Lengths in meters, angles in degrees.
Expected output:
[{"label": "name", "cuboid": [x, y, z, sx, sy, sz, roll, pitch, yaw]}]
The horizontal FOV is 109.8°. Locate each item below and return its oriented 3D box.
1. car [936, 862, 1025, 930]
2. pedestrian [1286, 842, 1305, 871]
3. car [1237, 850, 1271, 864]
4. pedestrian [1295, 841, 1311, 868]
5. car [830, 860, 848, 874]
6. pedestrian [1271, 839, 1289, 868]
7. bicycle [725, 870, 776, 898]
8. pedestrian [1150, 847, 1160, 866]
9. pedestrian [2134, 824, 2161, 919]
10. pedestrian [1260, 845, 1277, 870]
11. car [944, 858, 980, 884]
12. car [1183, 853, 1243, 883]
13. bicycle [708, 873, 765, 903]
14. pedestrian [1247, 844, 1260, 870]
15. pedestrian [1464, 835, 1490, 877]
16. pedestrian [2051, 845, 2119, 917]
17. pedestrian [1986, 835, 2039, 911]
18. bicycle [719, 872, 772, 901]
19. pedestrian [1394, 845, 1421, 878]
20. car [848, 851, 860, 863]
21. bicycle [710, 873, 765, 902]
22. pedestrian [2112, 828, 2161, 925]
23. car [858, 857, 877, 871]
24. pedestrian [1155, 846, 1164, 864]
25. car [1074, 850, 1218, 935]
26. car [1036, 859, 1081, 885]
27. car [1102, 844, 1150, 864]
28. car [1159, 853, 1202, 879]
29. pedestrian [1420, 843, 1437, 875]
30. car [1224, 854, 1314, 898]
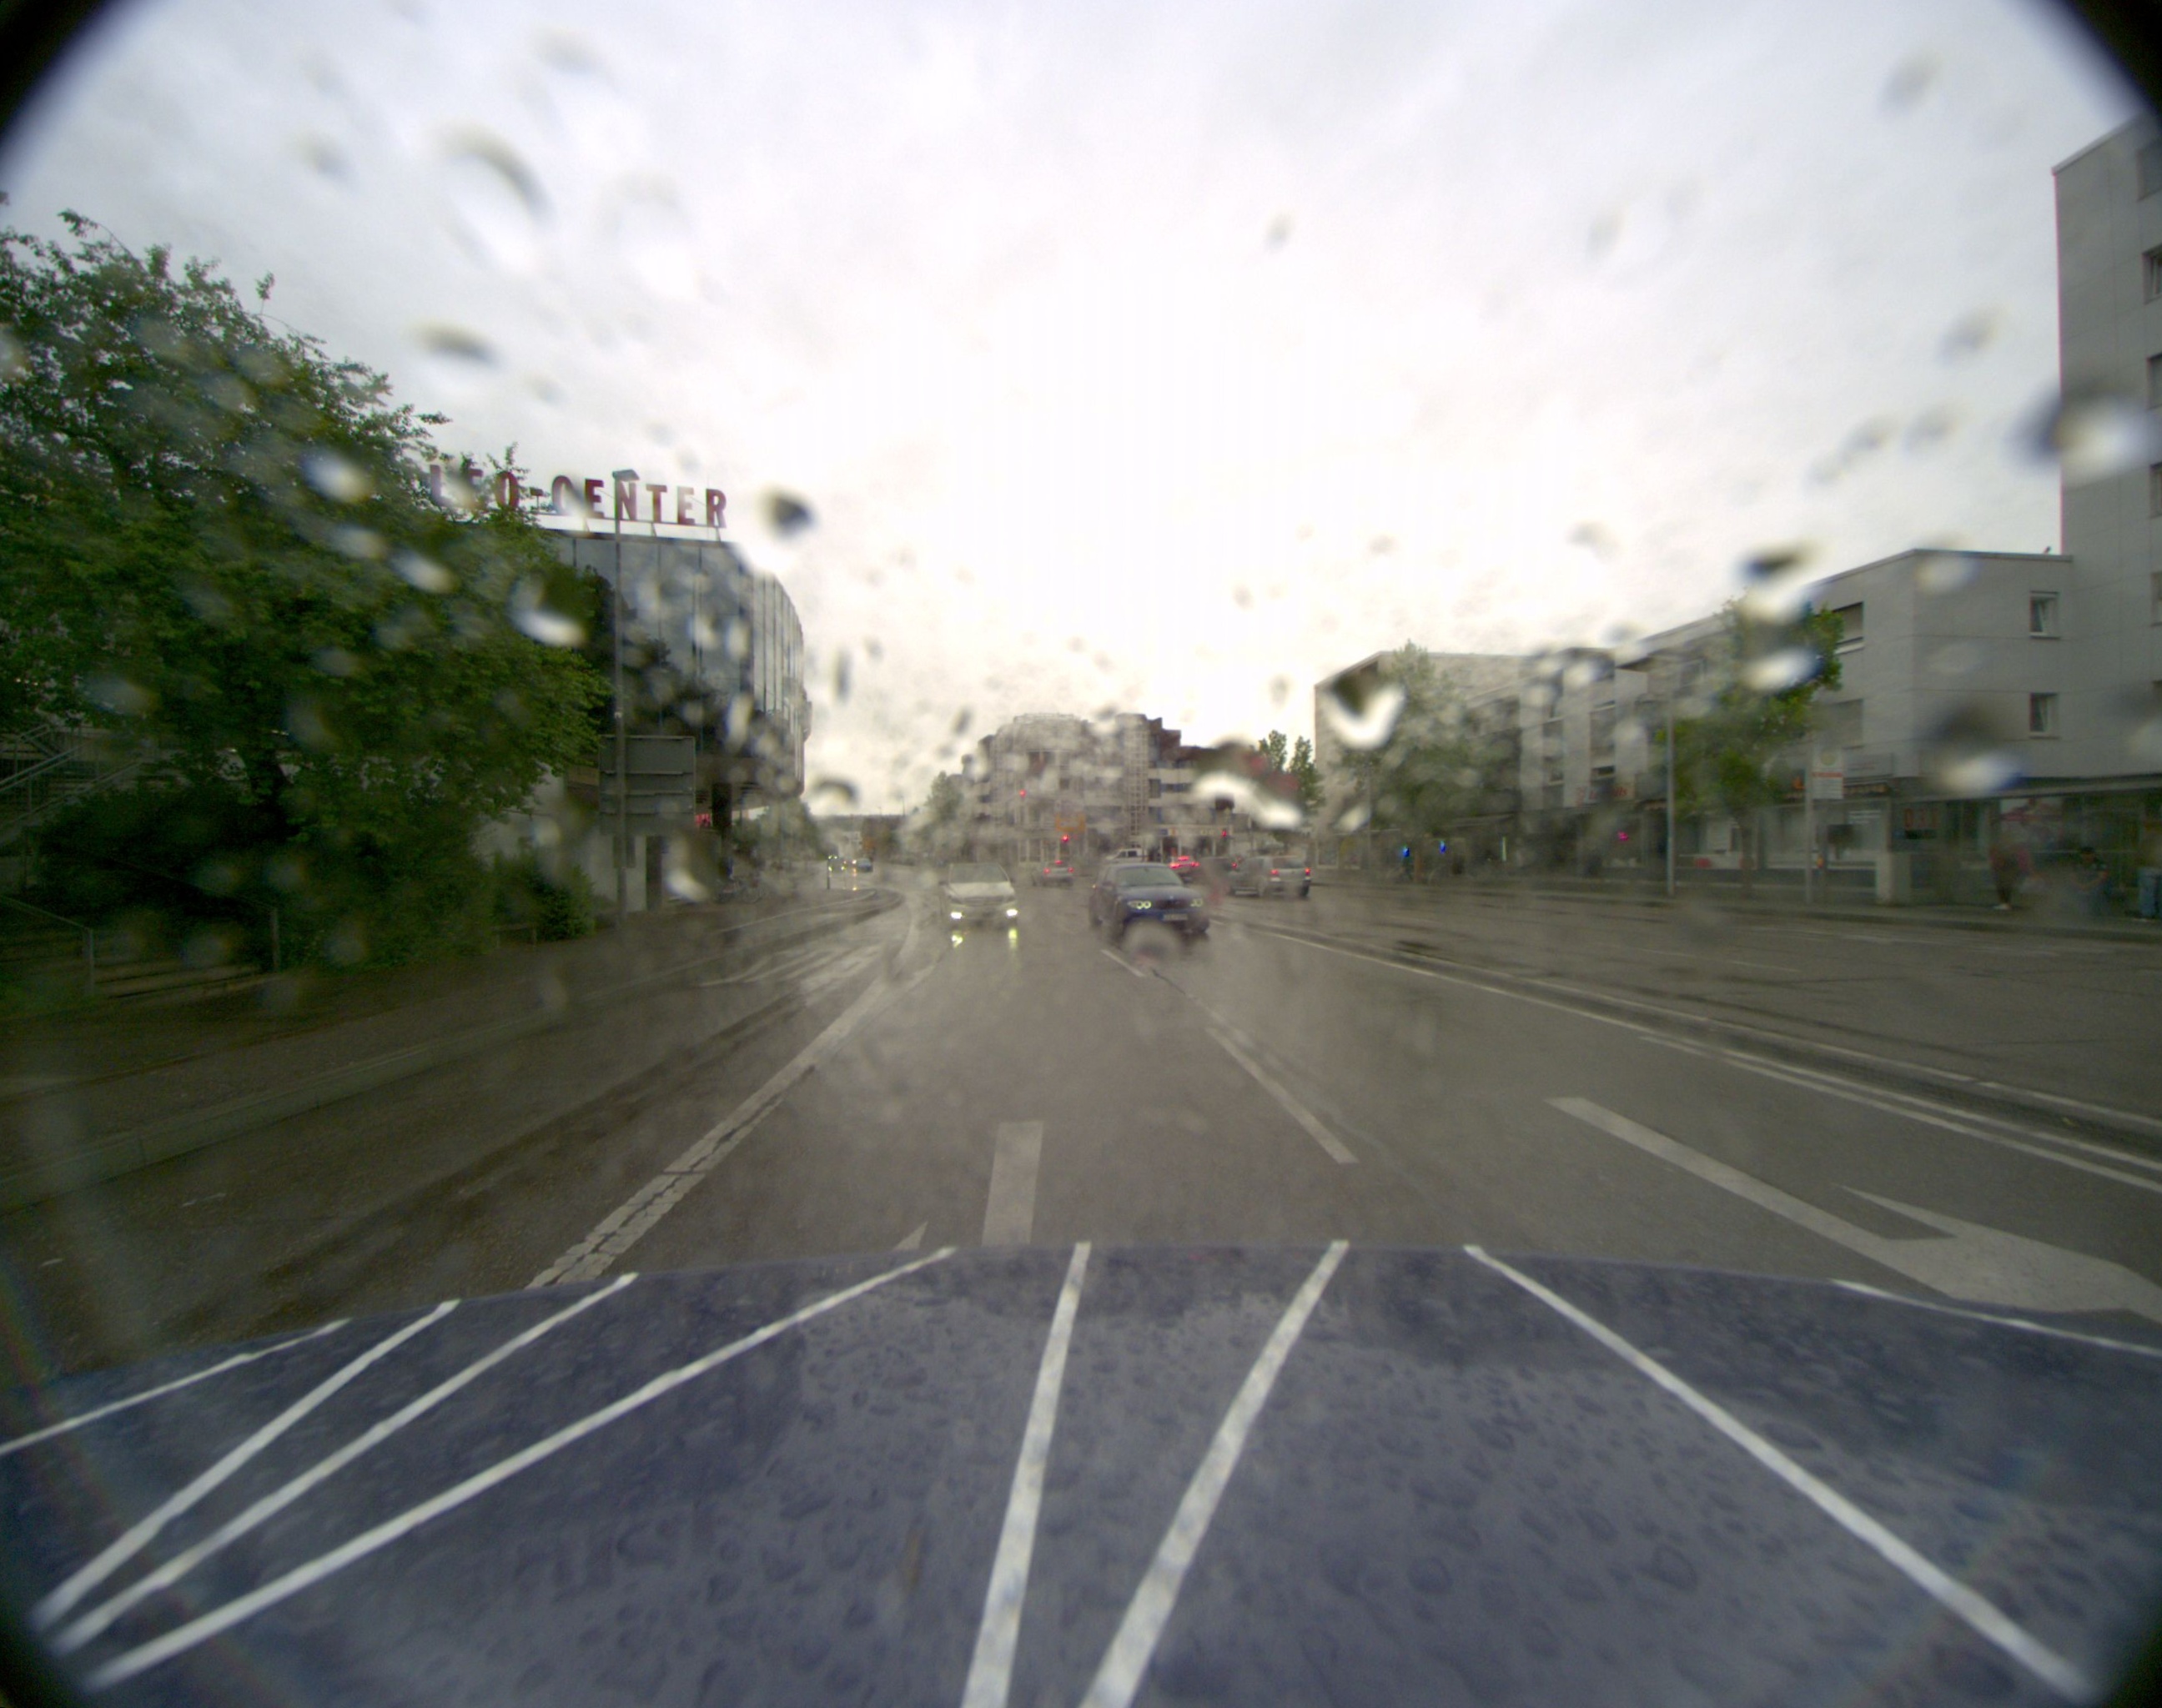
[{"label": "car", "cuboid": [-2.768, 1.010, 20.093, 1.764, 1.540, 4.321, -1, 0, -15]}, {"label": "pedestrian", "cuboid": [15.008, 0.150, 53.234, 0.906, 2.002, 0.977, -1, 0, -9]}, {"label": "car", "cuboid": [21.673, 0.346, 95.172, 3.901, 1.710, 1.743, -1, 0, -26]}, {"label": "pedestrian", "cuboid": [16.392, 0.033, 56.129, 0.761, 2.002, 0.863, -1, 0, -9]}, {"label": "car", "cuboid": [-28.197, 1.492, 88.528, 1.903, 1.517, 3.994, -1, 0, -18]}, {"label": "pedestrian", "cuboid": [13.778, -0.034, 52.656, 0.906, 2.002, 0.977, -1, 0, -9]}, {"label": "bicycle", "cuboid": [-13.790, 1.251, 31.752, 1.836, 1.104, 0.693, 1, 1, -10]}, {"label": "pedestrian", "cuboid": [7.102, 0.232, 72.808, 0.838, 1.733, 0.585, -2, 1, -2]}, {"label": "pedestrian", "cuboid": [19.174, 0.300, 13.399, 0.536, 1.649, 0.479, -1, 1, -2]}, {"label": "pedestrian", "cuboid": [14.338, 0.284, 58.217, 0.906, 1.904, 0.977, -1, 0, -9]}, {"label": "car", "cuboid": [-7.217, 1.014, 46.338, 1.632, 1.481, 3.839, -1, 0, -1]}, {"label": "car", "cuboid": [6.792, 0.727, 39.372, 1.763, 1.418, 3.997, -1, -1, -10]}, {"label": "bicycle", "cuboid": [-13.010, 1.298, 28.754, 1.816, 1.104, 0.693, 1, 0, -10]}, {"label": "pedestrian", "cuboid": [13.224, 0.227, 58.308, 0.905, 1.904, 0.978, -1, 0, 7]}, {"label": "pedestrian", "cuboid": [19.360, 0.090, 37.165, 0.761, 2.002, 0.864, -1, 0, -6]}, {"label": "pedestrian", "cuboid": [19.145, 0.503, 14.497, 0.536, 1.344, 0.578, -1, 1, -2]}, {"label": "pedestrian", "cuboid": [19.059, 0.378, 15.548, 0.537, 1.496, 0.614, -2, 1, -31]}, {"label": "bicycle", "cuboid": [-13.373, 1.293, 30.340, 1.816, 1.104, 0.693, 1, 0, -10]}, {"label": "pedestrian", "cuboid": [17.007, 0.388, 39.552, 1.010, 1.636, 0.726, -2, 1, -8]}, {"label": "car", "cuboid": [-32.062, 0.402, 107.400, 1.585, 1.630, 3.635, -1, 0, -18]}, {"label": "bicycle", "cuboid": [-13.290, 1.287, 29.411, 1.807, 1.078, 0.684, 1, 0, -10]}, {"label": "pedestrian", "cuboid": [18.609, 0.378, 13.279, 0.479, 1.649, 0.536, -1, 1, -7]}, {"label": "car", "cuboid": [-24.925, 1.140, 88.609, 1.903, 1.517, 3.994, -1, 0, -18]}, {"label": "pedestrian", "cuboid": [7.675, 0.103, 74.328, 0.682, 1.733, 0.585, -2, 1, 18]}, {"label": "car", "cuboid": [1.215, 0.734, 15.961, 1.678, 1.534, 3.908, -1, -1, -16]}, {"label": "car", "cuboid": [-1.396, 1.043, 44.546, 1.764, 1.442, 3.995, -1, -1, -15]}, {"label": "car", "cuboid": [4.702, -0.032, 79.188, 4.603, 2.002, 1.996, -1, 0, -23]}, {"label": "car", "cuboid": [6.004, 0.690, 46.476, 1.762, 1.418, 4.886, -1, 0, -3]}, {"label": "pedestrian", "cuboid": [18.985, 0.272, 41.490, 0.549, 1.740, 0.680, -1, 0, -6]}, {"label": "car", "cuboid": [6.618, 0.718, 27.226, 1.705, 1.457, 4.100, 0, 0, -9]}]
